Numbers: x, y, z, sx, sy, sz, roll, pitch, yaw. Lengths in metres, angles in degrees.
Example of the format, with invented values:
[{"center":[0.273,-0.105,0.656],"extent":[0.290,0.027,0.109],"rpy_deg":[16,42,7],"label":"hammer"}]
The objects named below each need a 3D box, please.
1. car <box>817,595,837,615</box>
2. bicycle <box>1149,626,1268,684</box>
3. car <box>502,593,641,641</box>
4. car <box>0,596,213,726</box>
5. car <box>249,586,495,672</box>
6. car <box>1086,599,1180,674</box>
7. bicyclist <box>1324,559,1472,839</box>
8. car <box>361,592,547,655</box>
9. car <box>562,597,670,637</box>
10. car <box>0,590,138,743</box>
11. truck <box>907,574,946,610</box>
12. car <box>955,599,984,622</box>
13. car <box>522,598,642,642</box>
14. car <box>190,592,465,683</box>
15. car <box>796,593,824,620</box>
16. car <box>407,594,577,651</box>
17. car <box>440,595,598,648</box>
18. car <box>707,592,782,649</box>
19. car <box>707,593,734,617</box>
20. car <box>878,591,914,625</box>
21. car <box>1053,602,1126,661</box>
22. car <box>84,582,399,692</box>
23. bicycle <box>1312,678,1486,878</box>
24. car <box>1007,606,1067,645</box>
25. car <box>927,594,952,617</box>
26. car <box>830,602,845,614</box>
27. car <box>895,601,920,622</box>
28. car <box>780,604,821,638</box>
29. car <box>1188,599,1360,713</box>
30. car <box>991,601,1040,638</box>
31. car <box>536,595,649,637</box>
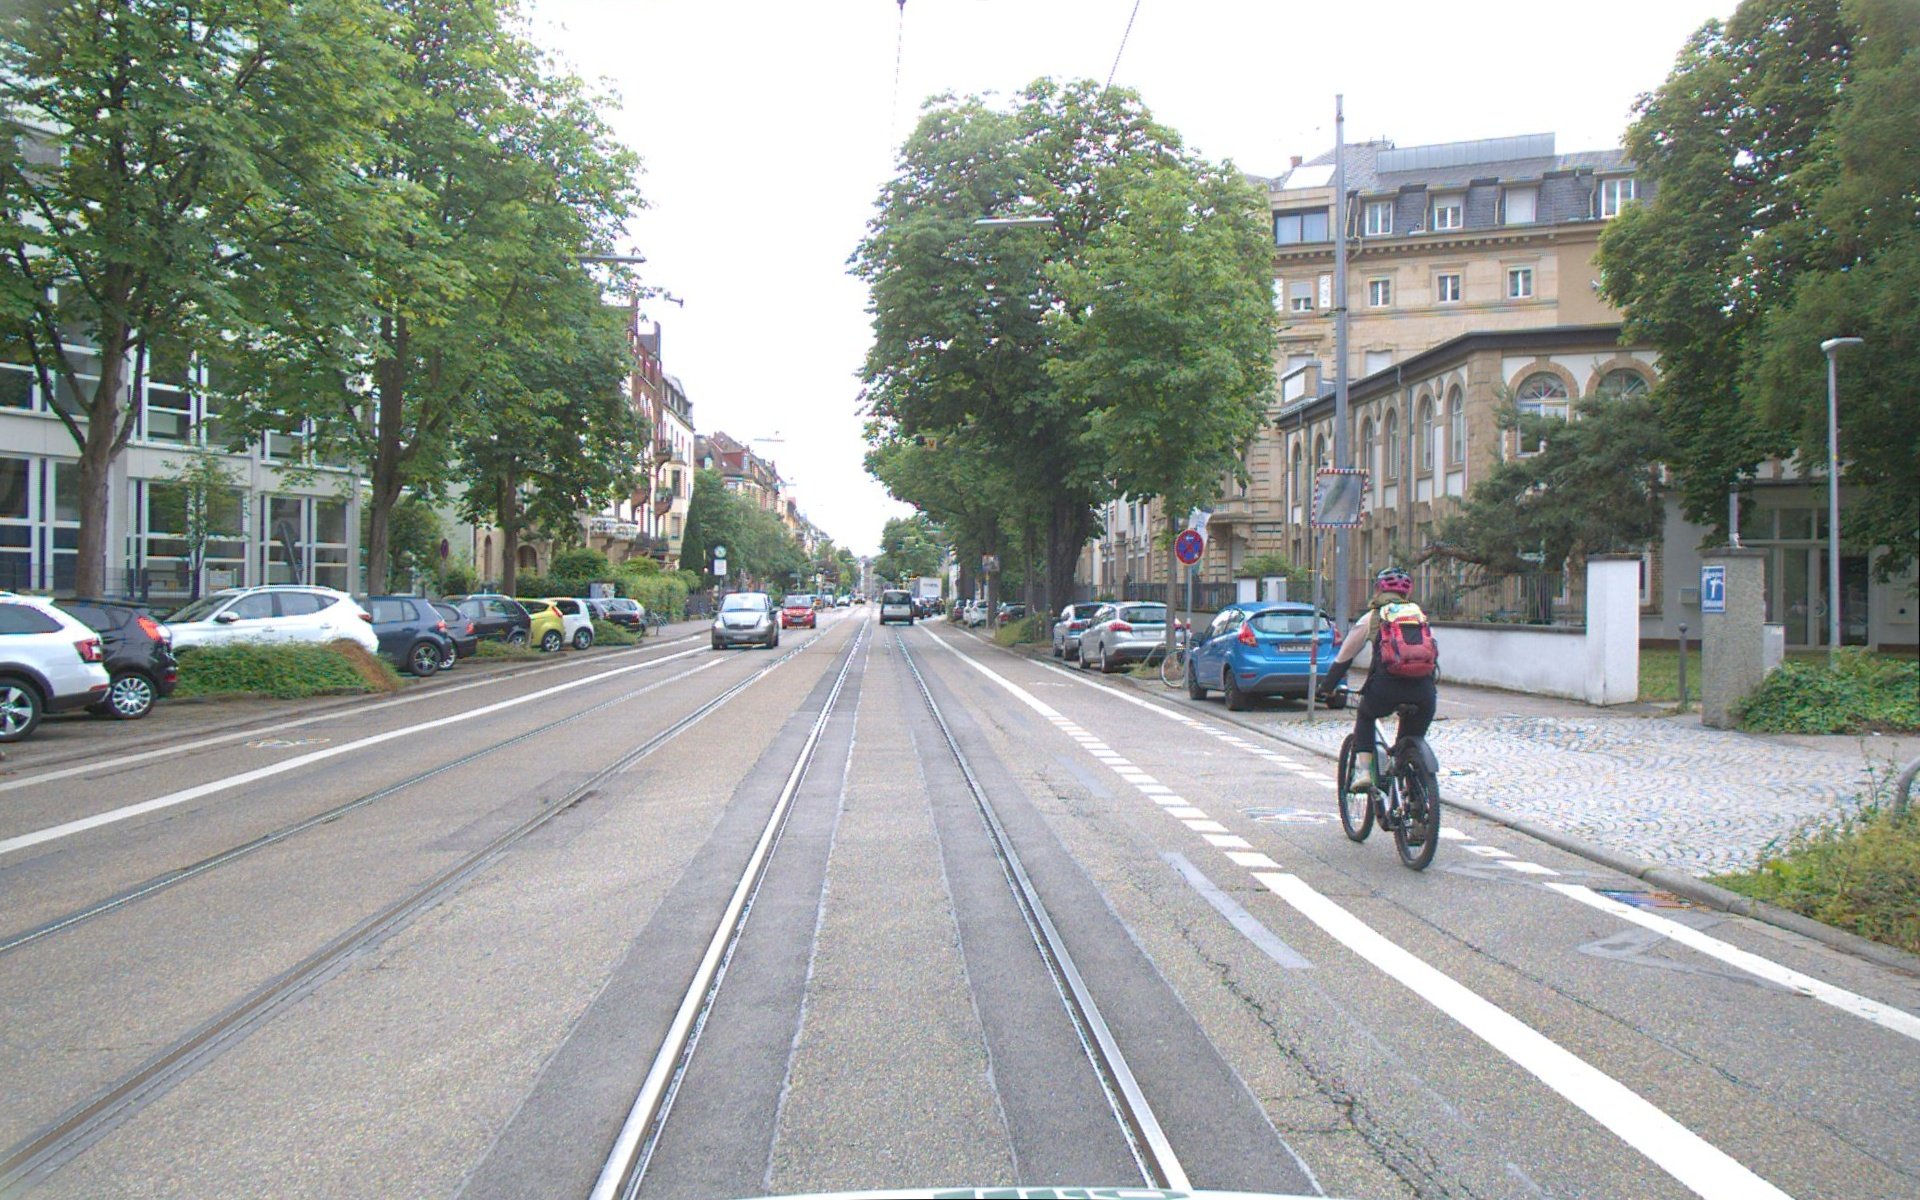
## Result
[{"center":[-15.859,0.588,197.433],"extent":[2.161,2.295,3.998],"rpy_deg":[0,0,-3],"label":"car"},{"center":[4.296,0.939,28.653],"extent":[1.974,0.974,0.533],"rpy_deg":[0,0,-7],"label":"bicycle"},{"center":[-11.903,0.530,50.836],"extent":[1.669,1.375,3.945],"rpy_deg":[1,0,41],"label":"car"},{"center":[-11.116,0.684,19.377],"extent":[3.992,1.430,1.675],"rpy_deg":[1,0,-41],"label":"car"},{"center":[-11.600,0.563,32.849],"extent":[1.669,1.562,4.321],"rpy_deg":[1,0,41],"label":"car"},{"center":[3.693,0.751,35.754],"extent":[1.446,1.507,3.563],"rpy_deg":[1,0,-3],"label":"car"},{"center":[2.664,0.579,10.136],"extent":[0.644,1.638,0.919],"rpy_deg":[0,0,-2],"label":"bicyclist"},{"center":[-11.982,0.559,39.308],"extent":[1.669,1.375,3.945],"rpy_deg":[1,0,41],"label":"car"},{"center":[-12.993,0.655,62.453],"extent":[3.664,1.410,1.685],"rpy_deg":[1,0,-27],"label":"car"},{"center":[-10.671,0.645,16.663],"extent":[3.992,1.510,1.675],"rpy_deg":[1,0,-41],"label":"car"},{"center":[-3.895,-0.911,189.239],"extent":[3.734,4.100,10.205],"rpy_deg":[0,0,-6],"label":"truck"},{"center":[0.587,0.632,104.585],"extent":[1.734,1.423,3.794],"rpy_deg":[0,0,-1],"label":"car"},{"center":[-12.870,0.688,56.353],"extent":[3.664,1.410,1.685],"rpy_deg":[1,0,-27],"label":"car"},{"center":[-11.237,0.647,29.600],"extent":[1.669,1.479,4.321],"rpy_deg":[1,0,41],"label":"car"},{"center":[-13.890,0.570,153.329],"extent":[2.159,2.460,4.000],"rpy_deg":[0,0,1],"label":"car"},{"center":[-12.048,0.584,42.741],"extent":[1.669,1.375,3.945],"rpy_deg":[1,0,41],"label":"car"},{"center":[-12.122,0.606,45.647],"extent":[1.669,1.375,3.945],"rpy_deg":[1,0,41],"label":"car"},{"center":[-6.229,0.567,48.188],"extent":[1.862,1.557,3.752],"rpy_deg":[-1,0,-3],"label":"car"},{"center":[-22.891,0.485,158.103],"extent":[2.133,2.246,4.217],"rpy_deg":[0,0,-2],"label":"car"},{"center":[-3.389,0.422,88.395],"extent":[1.775,1.738,3.698],"rpy_deg":[1,-1,0],"label":"car"},{"center":[3.319,0.786,42.896],"extent":[1.446,1.454,3.563],"rpy_deg":[0,0,-3],"label":"car"},{"center":[-11.314,0.569,26.318],"extent":[1.667,1.583,4.326],"rpy_deg":[1,0,38],"label":"car"},{"center":[2.691,1.053,10.338],"extent":[0.479,0.996,2.057],"rpy_deg":[1,0,-1],"label":"bicycle"},{"center":[2.638,0.846,57.423],"extent":[1.835,1.273,3.999],"rpy_deg":[0,0,-1],"label":"car"},{"center":[-1.687,0.462,134.447],"extent":[1.953,1.825,3.999],"rpy_deg":[0,0,-2],"label":"car"},{"center":[-17.384,1.084,234.864],"extent":[1.736,1.672,3.566],"rpy_deg":[0,0,1],"label":"car"},{"center":[-3.756,0.820,119.626],"extent":[1.734,1.423,3.794],"rpy_deg":[0,0,-1],"label":"car"},{"center":[-7.306,0.960,76.117],"extent":[1.642,1.549,2.781],"rpy_deg":[1,-1,-1],"label":"car"},{"center":[4.440,0.755,23.862],"extent":[1.641,1.486,3.430],"rpy_deg":[1,0,-3],"label":"car"},{"center":[2.162,0.746,65.471],"extent":[1.755,1.423,3.794],"rpy_deg":[0,0,-1],"label":"car"},{"center":[-13.161,0.574,59.211],"extent":[3.664,1.410,1.685],"rpy_deg":[1,0,-27],"label":"car"}]
